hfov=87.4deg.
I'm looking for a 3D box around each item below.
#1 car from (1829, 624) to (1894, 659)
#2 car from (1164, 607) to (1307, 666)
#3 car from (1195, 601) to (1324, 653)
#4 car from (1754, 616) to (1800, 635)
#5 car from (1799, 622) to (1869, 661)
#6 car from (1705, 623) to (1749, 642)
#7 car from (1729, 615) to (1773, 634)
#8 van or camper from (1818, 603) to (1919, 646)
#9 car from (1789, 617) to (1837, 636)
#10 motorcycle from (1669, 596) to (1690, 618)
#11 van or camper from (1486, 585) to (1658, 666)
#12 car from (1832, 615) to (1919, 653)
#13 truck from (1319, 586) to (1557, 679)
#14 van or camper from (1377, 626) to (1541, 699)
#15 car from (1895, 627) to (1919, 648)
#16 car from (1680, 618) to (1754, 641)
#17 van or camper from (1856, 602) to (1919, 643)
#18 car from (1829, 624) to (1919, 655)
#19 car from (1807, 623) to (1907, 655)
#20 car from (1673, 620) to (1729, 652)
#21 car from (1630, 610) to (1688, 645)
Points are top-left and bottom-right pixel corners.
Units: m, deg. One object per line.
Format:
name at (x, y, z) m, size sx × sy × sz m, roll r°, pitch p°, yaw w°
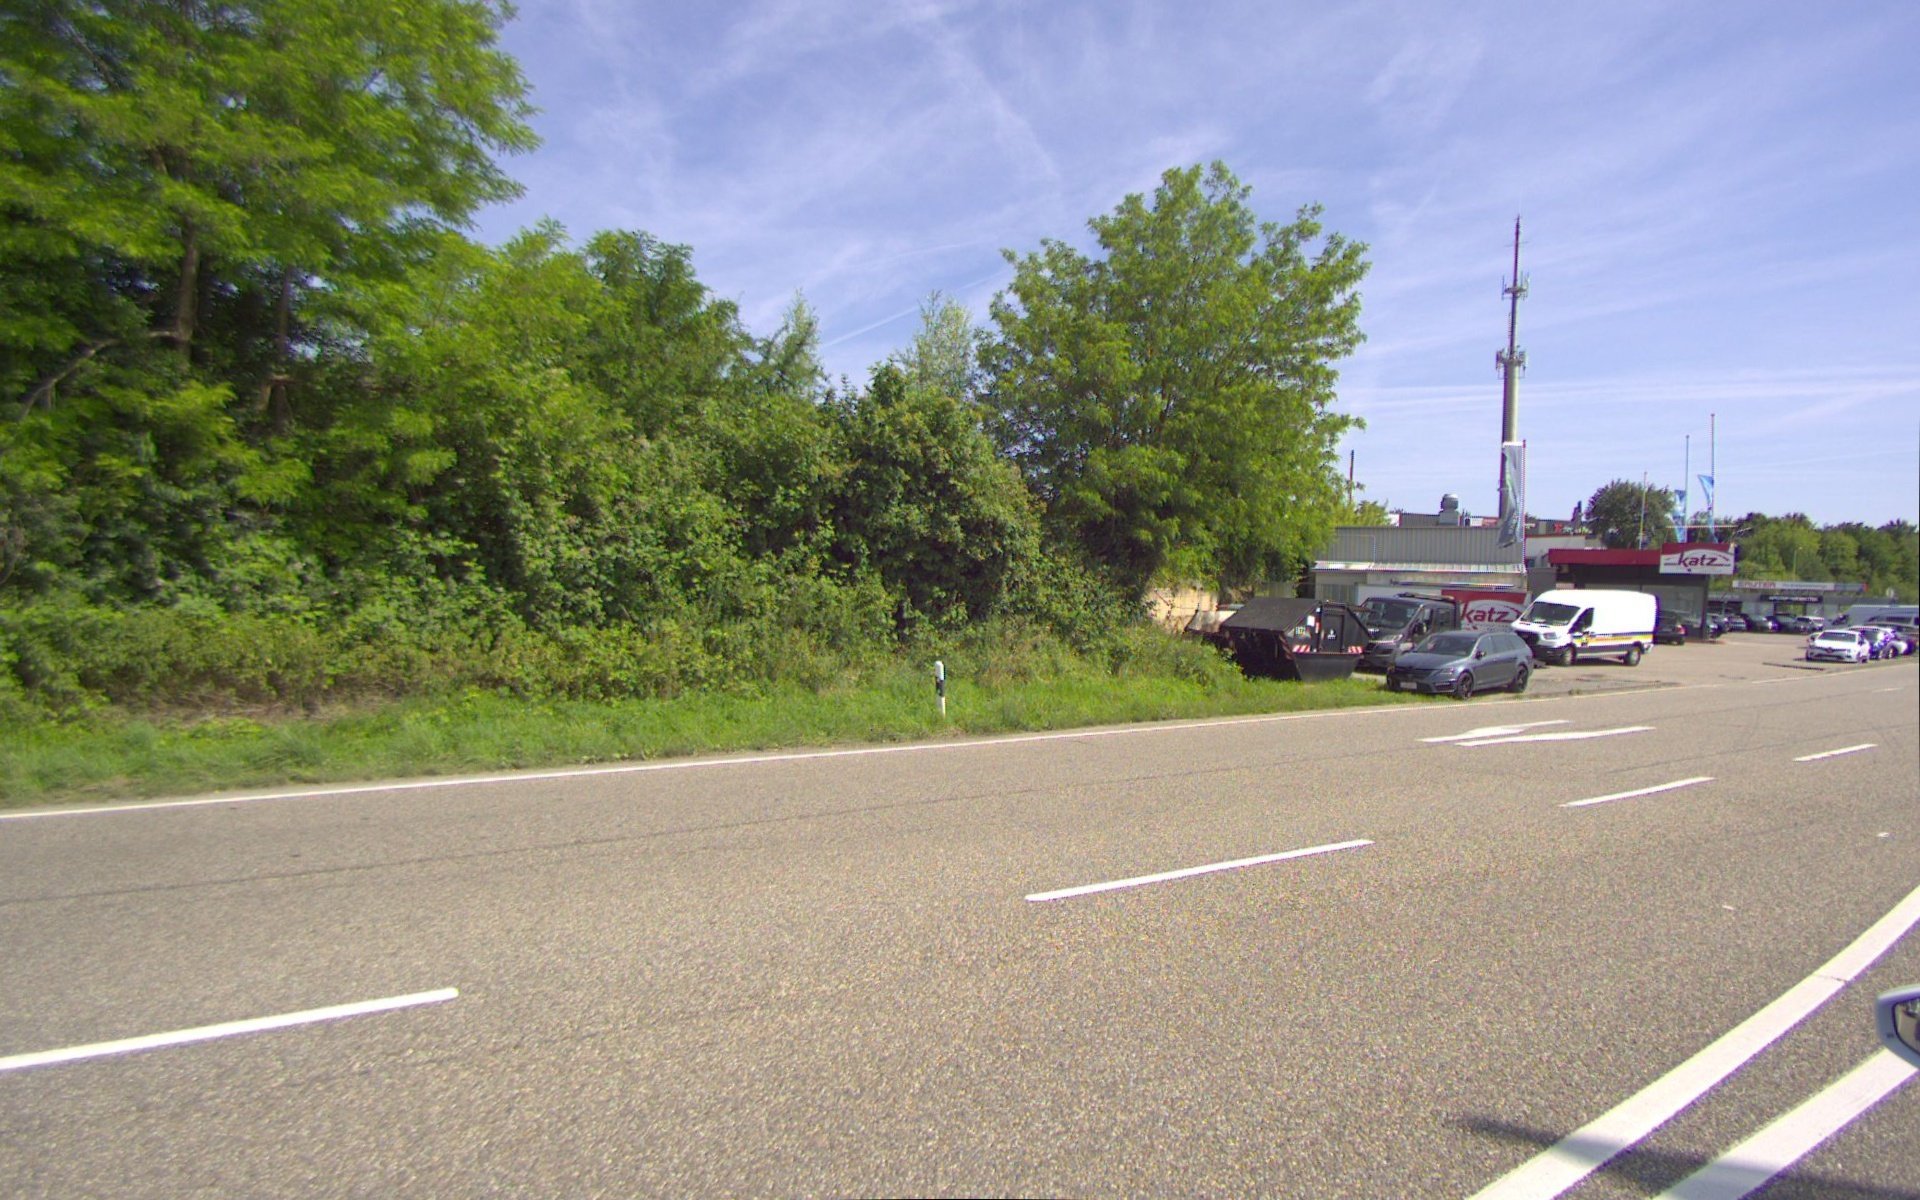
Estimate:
car at (45.070, 2.041, 50.209) m, size 3.749 × 1.514 × 1.764 m, roll 1°, pitch 4°, yaw -39°
car at (7.977, 1.014, 29.229) m, size 3.618 × 1.531 × 1.708 m, roll 1°, pitch 0°, yaw 42°
car at (9.537, 0.826, 32.068) m, size 3.608 × 1.488 × 1.735 m, roll 1°, pitch 0°, yaw 33°
car at (71.375, 2.180, 87.763) m, size 1.733 × 1.609 × 3.831 m, roll 0°, pitch -1°, yaw 16°
car at (39.643, 1.858, 45.537) m, size 3.966 × 1.639 × 1.765 m, roll 1°, pitch 0°, yaw -39°
car at (66.951, 2.808, 87.712) m, size 1.733 × 1.609 × 3.831 m, roll 0°, pitch -1°, yaw 16°
car at (69.499, 2.125, 88.281) m, size 1.733 × 1.609 × 3.831 m, roll 0°, pitch -1°, yaw 16°
van or camper at (66.493, 1.724, 73.088) m, size 2.271 × 2.912 × 5.841 m, roll 0°, pitch 1°, yaw -40°
car at (73.805, 2.259, 86.956) m, size 1.733 × 1.609 × 3.831 m, roll 0°, pitch -1°, yaw 16°
motorcycle at (42.690, 0.447, 59.636) m, size 0.758 × 1.278 × 2.052 m, roll 0°, pitch -1°, yaw 29°
van or camper at (21.241, 0.867, 34.849) m, size 5.871 × 2.533 × 2.146 m, roll 1°, pitch 3°, yaw -26°
car at (51.077, 1.873, 55.679) m, size 1.793 × 1.740 × 3.850 m, roll 1°, pitch 4°, yaw -42°
truck at (14.626, 0.955, 30.356) m, size 8.713 × 2.328 × 2.315 m, roll 1°, pitch 4°, yaw -35°
van or camper at (12.028, 1.452, 24.130) m, size 4.424 × 1.544 × 1.628 m, roll 2°, pitch 0°, yaw -36°
car at (73.660, 2.898, 76.235) m, size 1.828 × 1.560 × 3.783 m, roll 1°, pitch -1°, yaw -41°
car at (53.414, 2.048, 70.967) m, size 3.877 × 1.553 × 1.767 m, roll 0°, pitch 0°, yaw 27°
van or camper at (66.000, 1.593, 69.895) m, size 2.192 × 2.768 × 5.202 m, roll 1°, pitch 0°, yaw -39°
car at (48.974, 2.101, 53.697) m, size 1.779 × 1.546 × 3.674 m, roll 1°, pitch -1°, yaw -42°
car at (47.049, 2.019, 52.715) m, size 1.833 × 1.546 × 3.761 m, roll 1°, pitch 0°, yaw -42°
car at (46.229, 2.230, 62.751) m, size 1.793 × 1.696 × 4.125 m, roll 7°, pitch 1°, yaw 24°
car at (36.907, 1.404, 53.120) m, size 1.825 × 1.525 × 4.389 m, roll 4°, pitch 3°, yaw 27°
